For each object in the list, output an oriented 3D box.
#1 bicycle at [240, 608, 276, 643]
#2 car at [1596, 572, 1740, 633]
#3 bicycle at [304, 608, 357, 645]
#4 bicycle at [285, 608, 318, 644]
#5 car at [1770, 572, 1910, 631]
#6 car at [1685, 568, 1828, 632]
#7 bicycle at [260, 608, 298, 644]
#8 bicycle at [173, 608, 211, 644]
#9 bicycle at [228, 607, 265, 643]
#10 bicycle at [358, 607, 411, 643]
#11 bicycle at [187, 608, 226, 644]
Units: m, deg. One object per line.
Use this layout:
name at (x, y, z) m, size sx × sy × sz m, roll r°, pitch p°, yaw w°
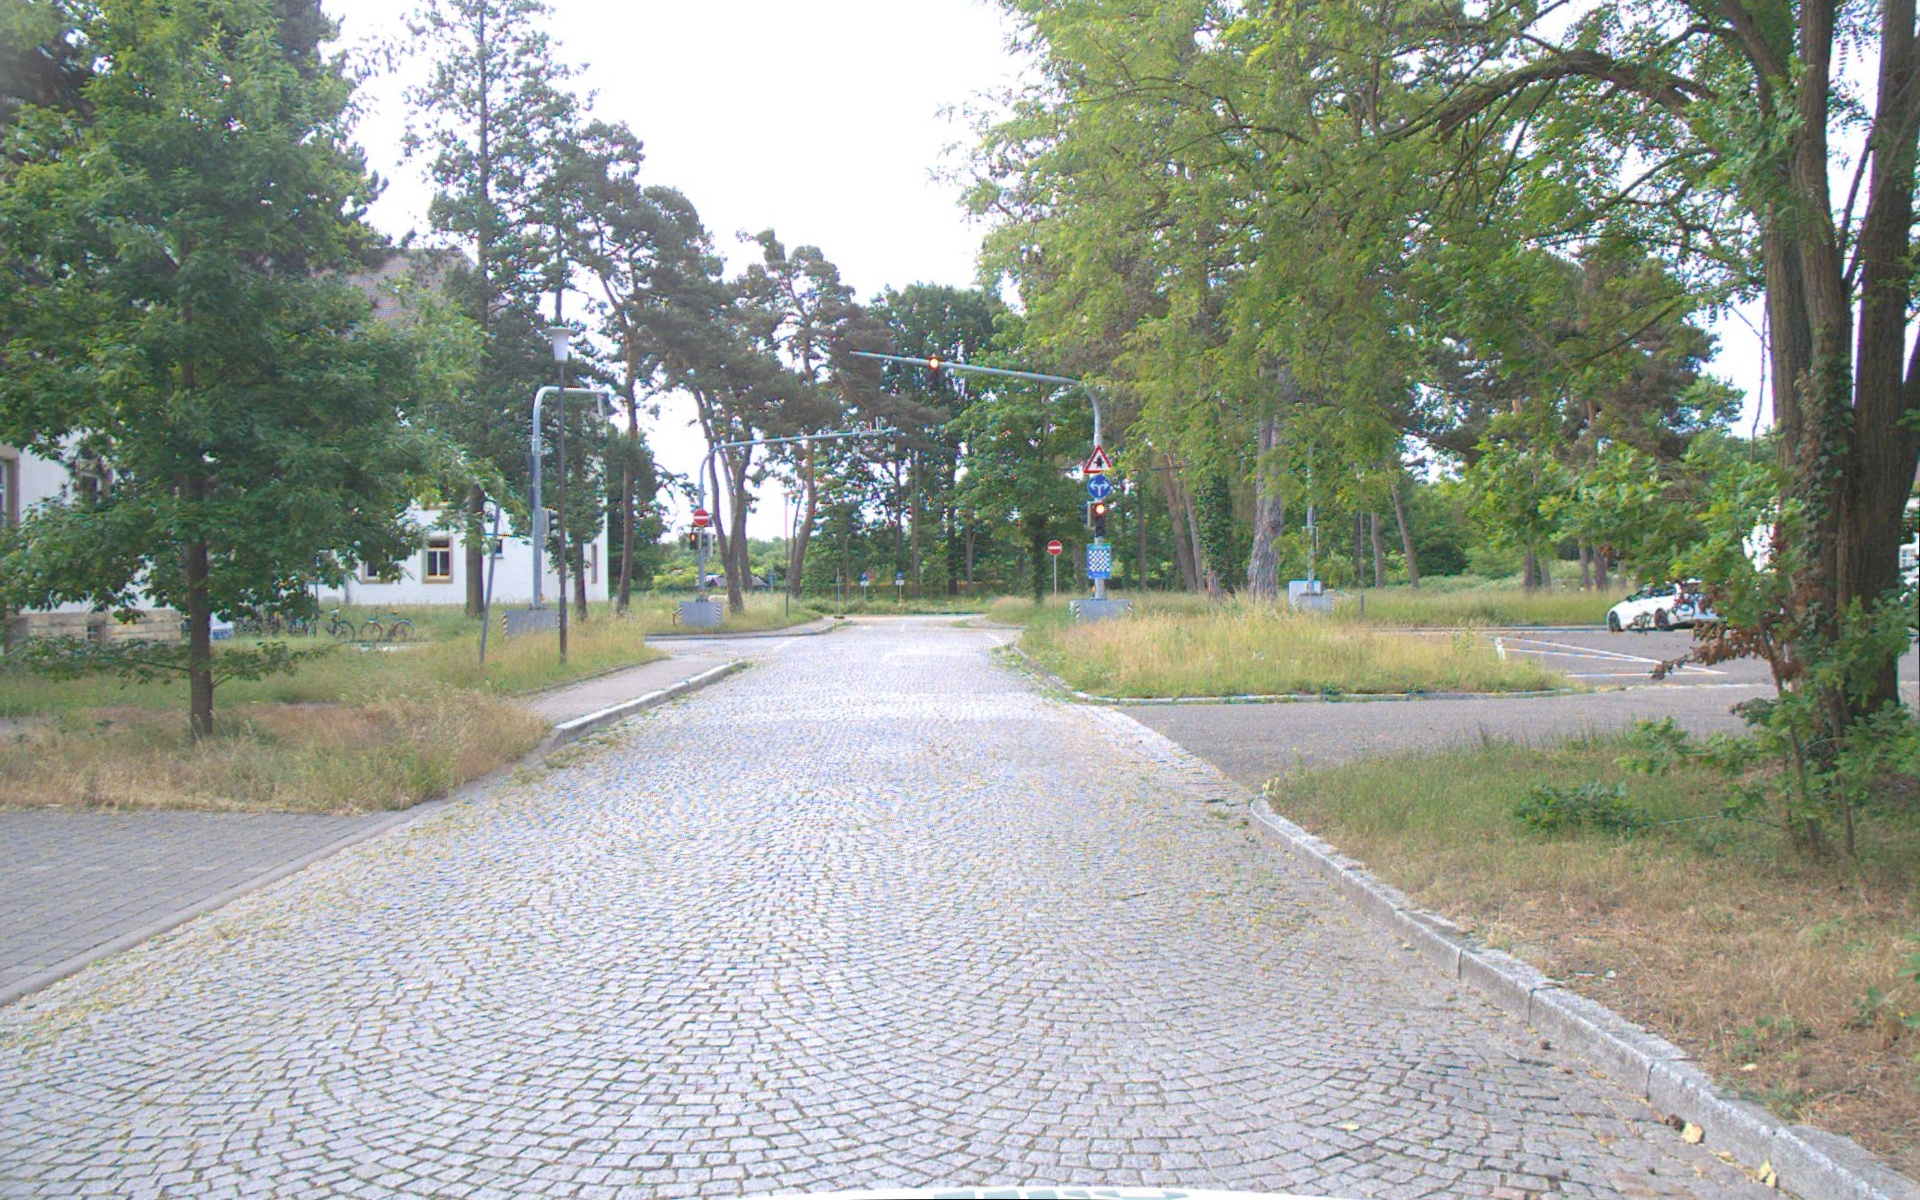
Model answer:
bicycle at (-22.335, 0.801, 52.633) m, size 0.504 × 1.098 × 1.585 m, roll -1°, pitch 0°, yaw -1°
car at (19.874, 0.117, 46.627) m, size 1.812 × 1.513 × 4.604 m, roll 1°, pitch -2°, yaw -4°
bicycle at (-19.544, 0.817, 51.349) m, size 1.435 × 1.098 × 0.516 m, roll -1°, pitch 0°, yaw -4°
bicycle at (-20.978, 0.824, 52.679) m, size 0.504 × 1.098 × 1.584 m, roll -1°, pitch 0°, yaw -4°
car at (25.032, 0.090, 47.221) m, size 1.666 × 1.511 × 4.242 m, roll -1°, pitch -2°, yaw 0°
car at (22.462, 0.029, 46.832) m, size 1.747 × 1.634 × 4.239 m, roll -1°, pitch -2°, yaw -4°
bicycle at (-21.641, 0.813, 52.566) m, size 0.504 × 1.098 × 1.586 m, roll -1°, pitch 0°, yaw 1°
bicycle at (-24.362, 0.804, 52.486) m, size 0.504 × 1.098 × 1.585 m, roll -1°, pitch 0°, yaw -1°
bicycle at (-22.690, 0.795, 52.624) m, size 0.504 × 1.098 × 1.585 m, roll -1°, pitch 0°, yaw -1°
bicycle at (-17.943, 0.768, 51.576) m, size 1.435 × 1.084 × 0.516 m, roll -1°, pitch 0°, yaw -4°
bicycle at (-23.918, 0.808, 52.510) m, size 0.504 × 1.098 × 1.585 m, roll -1°, pitch 0°, yaw -1°
